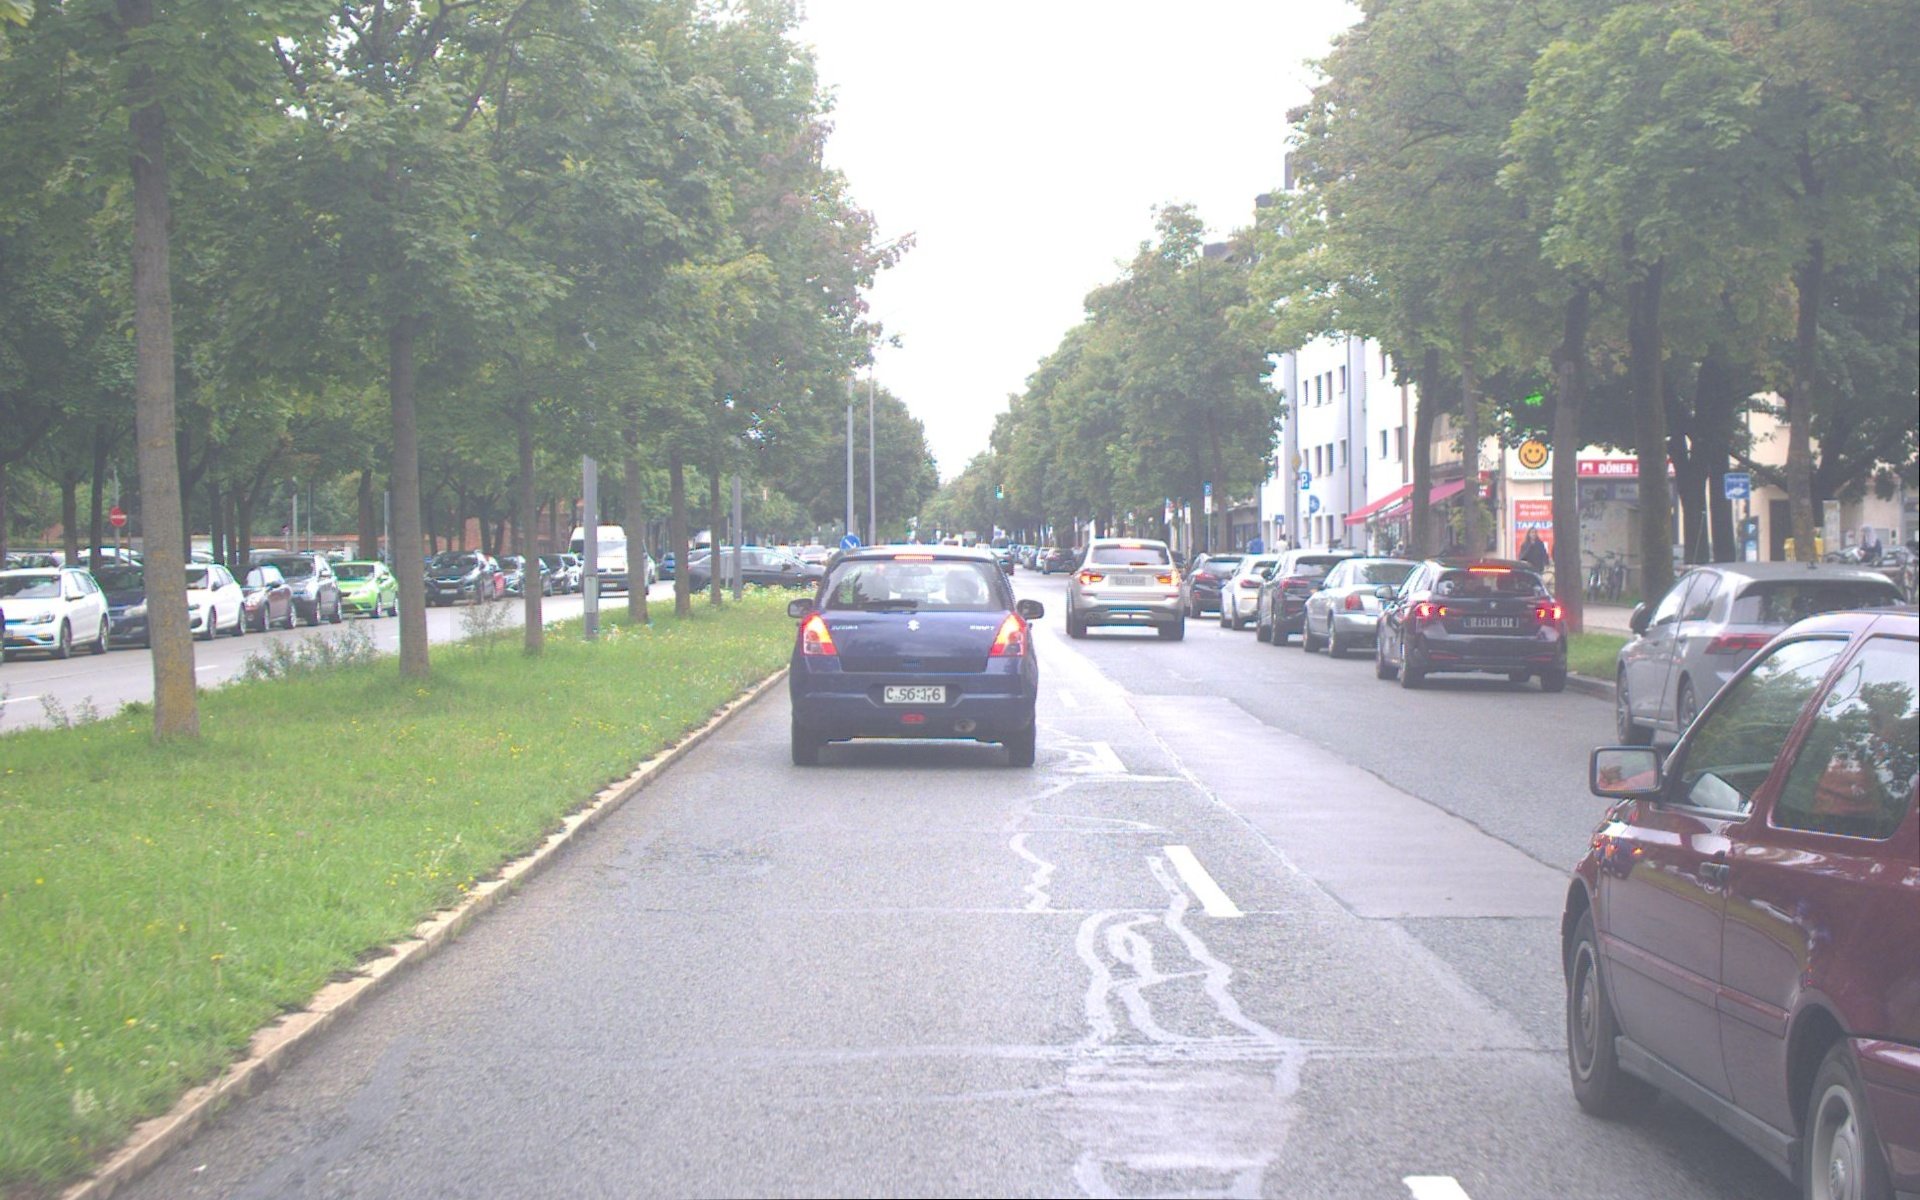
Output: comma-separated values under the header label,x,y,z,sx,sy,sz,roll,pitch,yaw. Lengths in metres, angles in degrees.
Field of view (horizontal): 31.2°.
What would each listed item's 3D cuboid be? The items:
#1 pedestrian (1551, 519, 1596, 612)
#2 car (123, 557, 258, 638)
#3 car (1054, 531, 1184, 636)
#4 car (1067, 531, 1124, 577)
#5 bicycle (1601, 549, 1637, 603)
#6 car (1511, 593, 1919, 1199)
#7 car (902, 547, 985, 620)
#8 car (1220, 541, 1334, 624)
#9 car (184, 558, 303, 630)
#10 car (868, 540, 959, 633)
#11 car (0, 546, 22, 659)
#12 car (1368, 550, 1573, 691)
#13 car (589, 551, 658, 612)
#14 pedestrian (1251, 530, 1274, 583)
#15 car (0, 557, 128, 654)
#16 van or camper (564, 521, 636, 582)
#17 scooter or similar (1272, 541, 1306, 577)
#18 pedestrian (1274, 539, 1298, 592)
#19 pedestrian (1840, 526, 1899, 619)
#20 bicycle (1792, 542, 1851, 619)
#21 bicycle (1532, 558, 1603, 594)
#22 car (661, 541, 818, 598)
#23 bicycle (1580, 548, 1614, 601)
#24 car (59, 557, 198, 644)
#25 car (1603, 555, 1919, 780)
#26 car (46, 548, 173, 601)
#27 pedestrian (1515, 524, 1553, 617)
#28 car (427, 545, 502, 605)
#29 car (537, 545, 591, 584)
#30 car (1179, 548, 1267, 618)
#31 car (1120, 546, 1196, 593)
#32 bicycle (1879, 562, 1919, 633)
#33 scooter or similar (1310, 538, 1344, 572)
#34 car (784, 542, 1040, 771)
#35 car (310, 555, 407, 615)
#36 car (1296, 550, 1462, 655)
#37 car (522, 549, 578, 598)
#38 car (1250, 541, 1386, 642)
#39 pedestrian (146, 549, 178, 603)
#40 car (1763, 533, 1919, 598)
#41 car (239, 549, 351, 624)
label,x,y,z,sx,sy,sz,roll,pitch,yaw
pedestrian,12.583,-0.701,70.527,0.729,1.883,0.919,-1,0,-1
car,-14.896,-0.069,66.742,1.607,1.439,4.279,-2,1,0
car,2.635,-0.308,57.850,1.865,1.655,4.408,1,1,-1
car,5.081,-1.758,129.518,1.865,1.677,4.225,-1,1,-2
bicycle,13.608,-0.502,71.034,0.381,1.099,1.883,1,1,1
car,2.433,0.716,7.776,1.682,1.379,3.919,1,1,-1
car,-0.330,-0.367,71.607,1.682,1.458,3.734,0,1,0
car,6.006,-0.353,65.544,1.682,1.460,4.137,2,1,-1
car,-14.929,-0.142,71.802,1.591,1.392,3.630,-2,1,2
car,-0.766,-0.245,56.253,1.444,1.478,3.107,0,1,-1
car,-14.898,0.087,49.257,1.736,1.640,4.256,-2,1,-1
car,5.736,0.191,39.036,1.750,1.460,4.176,1,1,1
car,-11.036,-0.625,113.025,1.799,1.927,4.994,-2,1,-1
pedestrian,11.433,-1.638,129.859,0.794,2.007,1.006,0,1,1
car,-14.885,0.073,55.619,1.762,1.445,4.533,-2,1,-1
van or camper,-15.113,-2.021,144.713,2.117,2.473,7.449,1,1,1
scooter or similar,12.360,-1.544,129.091,1.033,1.303,2.755,0,1,1
pedestrian,12.314,-1.305,129.818,0.794,2.007,1.006,0,1,1
pedestrian,16.600,-0.498,62.764,0.838,1.675,0.835,-1,0,-1
bicycle,13.168,-0.307,52.572,0.431,1.129,1.884,-1,1,1
bicycle,16.775,-0.661,95.023,1.847,0.954,0.557,1,0,-1
car,-5.905,-0.824,91.956,4.121,1.463,1.840,0,1,-6
bicycle,13.590,-0.547,73.341,0.389,1.101,1.853,1,1,1
car,-14.672,-0.013,60.814,1.613,1.412,3.898,-2,1,-2
car,5.908,0.429,25.128,1.682,1.460,4.115,1,1,1
car,-28.549,-0.862,115.445,3.918,1.712,1.673,1,1,-5
pedestrian,11.781,-0.610,70.542,0.588,1.883,0.902,-1,0,-1
car,-14.824,-0.753,103.059,1.716,1.735,3.879,1,1,-1
car,-15.011,-1.357,130.535,1.632,1.426,3.879,1,1,-1
car,5.788,-0.391,76.067,1.617,1.460,3.674,2,1,0
car,6.114,-0.960,106.657,1.865,1.412,4.225,-1,1,-3
bicycle,14.421,-0.044,52.192,0.431,1.025,1.883,-1,1,1
scooter or similar,14.251,-1.768,133.504,1.033,1.303,2.755,0,1,1
car,-0.356,0.340,24.614,1.682,1.496,3.919,0,1,-1
car,-14.996,-0.395,85.922,1.548,1.404,3.879,-2,1,2
car,5.979,0.005,49.473,1.636,1.381,4.245,1,1,-3
car,-14.909,-0.981,125.202,1.632,1.735,3.879,1,1,-1
car,5.717,-0.172,55.355,1.716,1.528,4.276,1,1,0
pedestrian,-22.859,-0.678,98.482,0.727,1.528,0.721,1,0,1
car,24.130,-0.939,92.854,4.392,1.655,1.872,-1,1,-3
car,-14.976,-0.331,77.588,1.690,1.581,4.371,-2,1,-1
